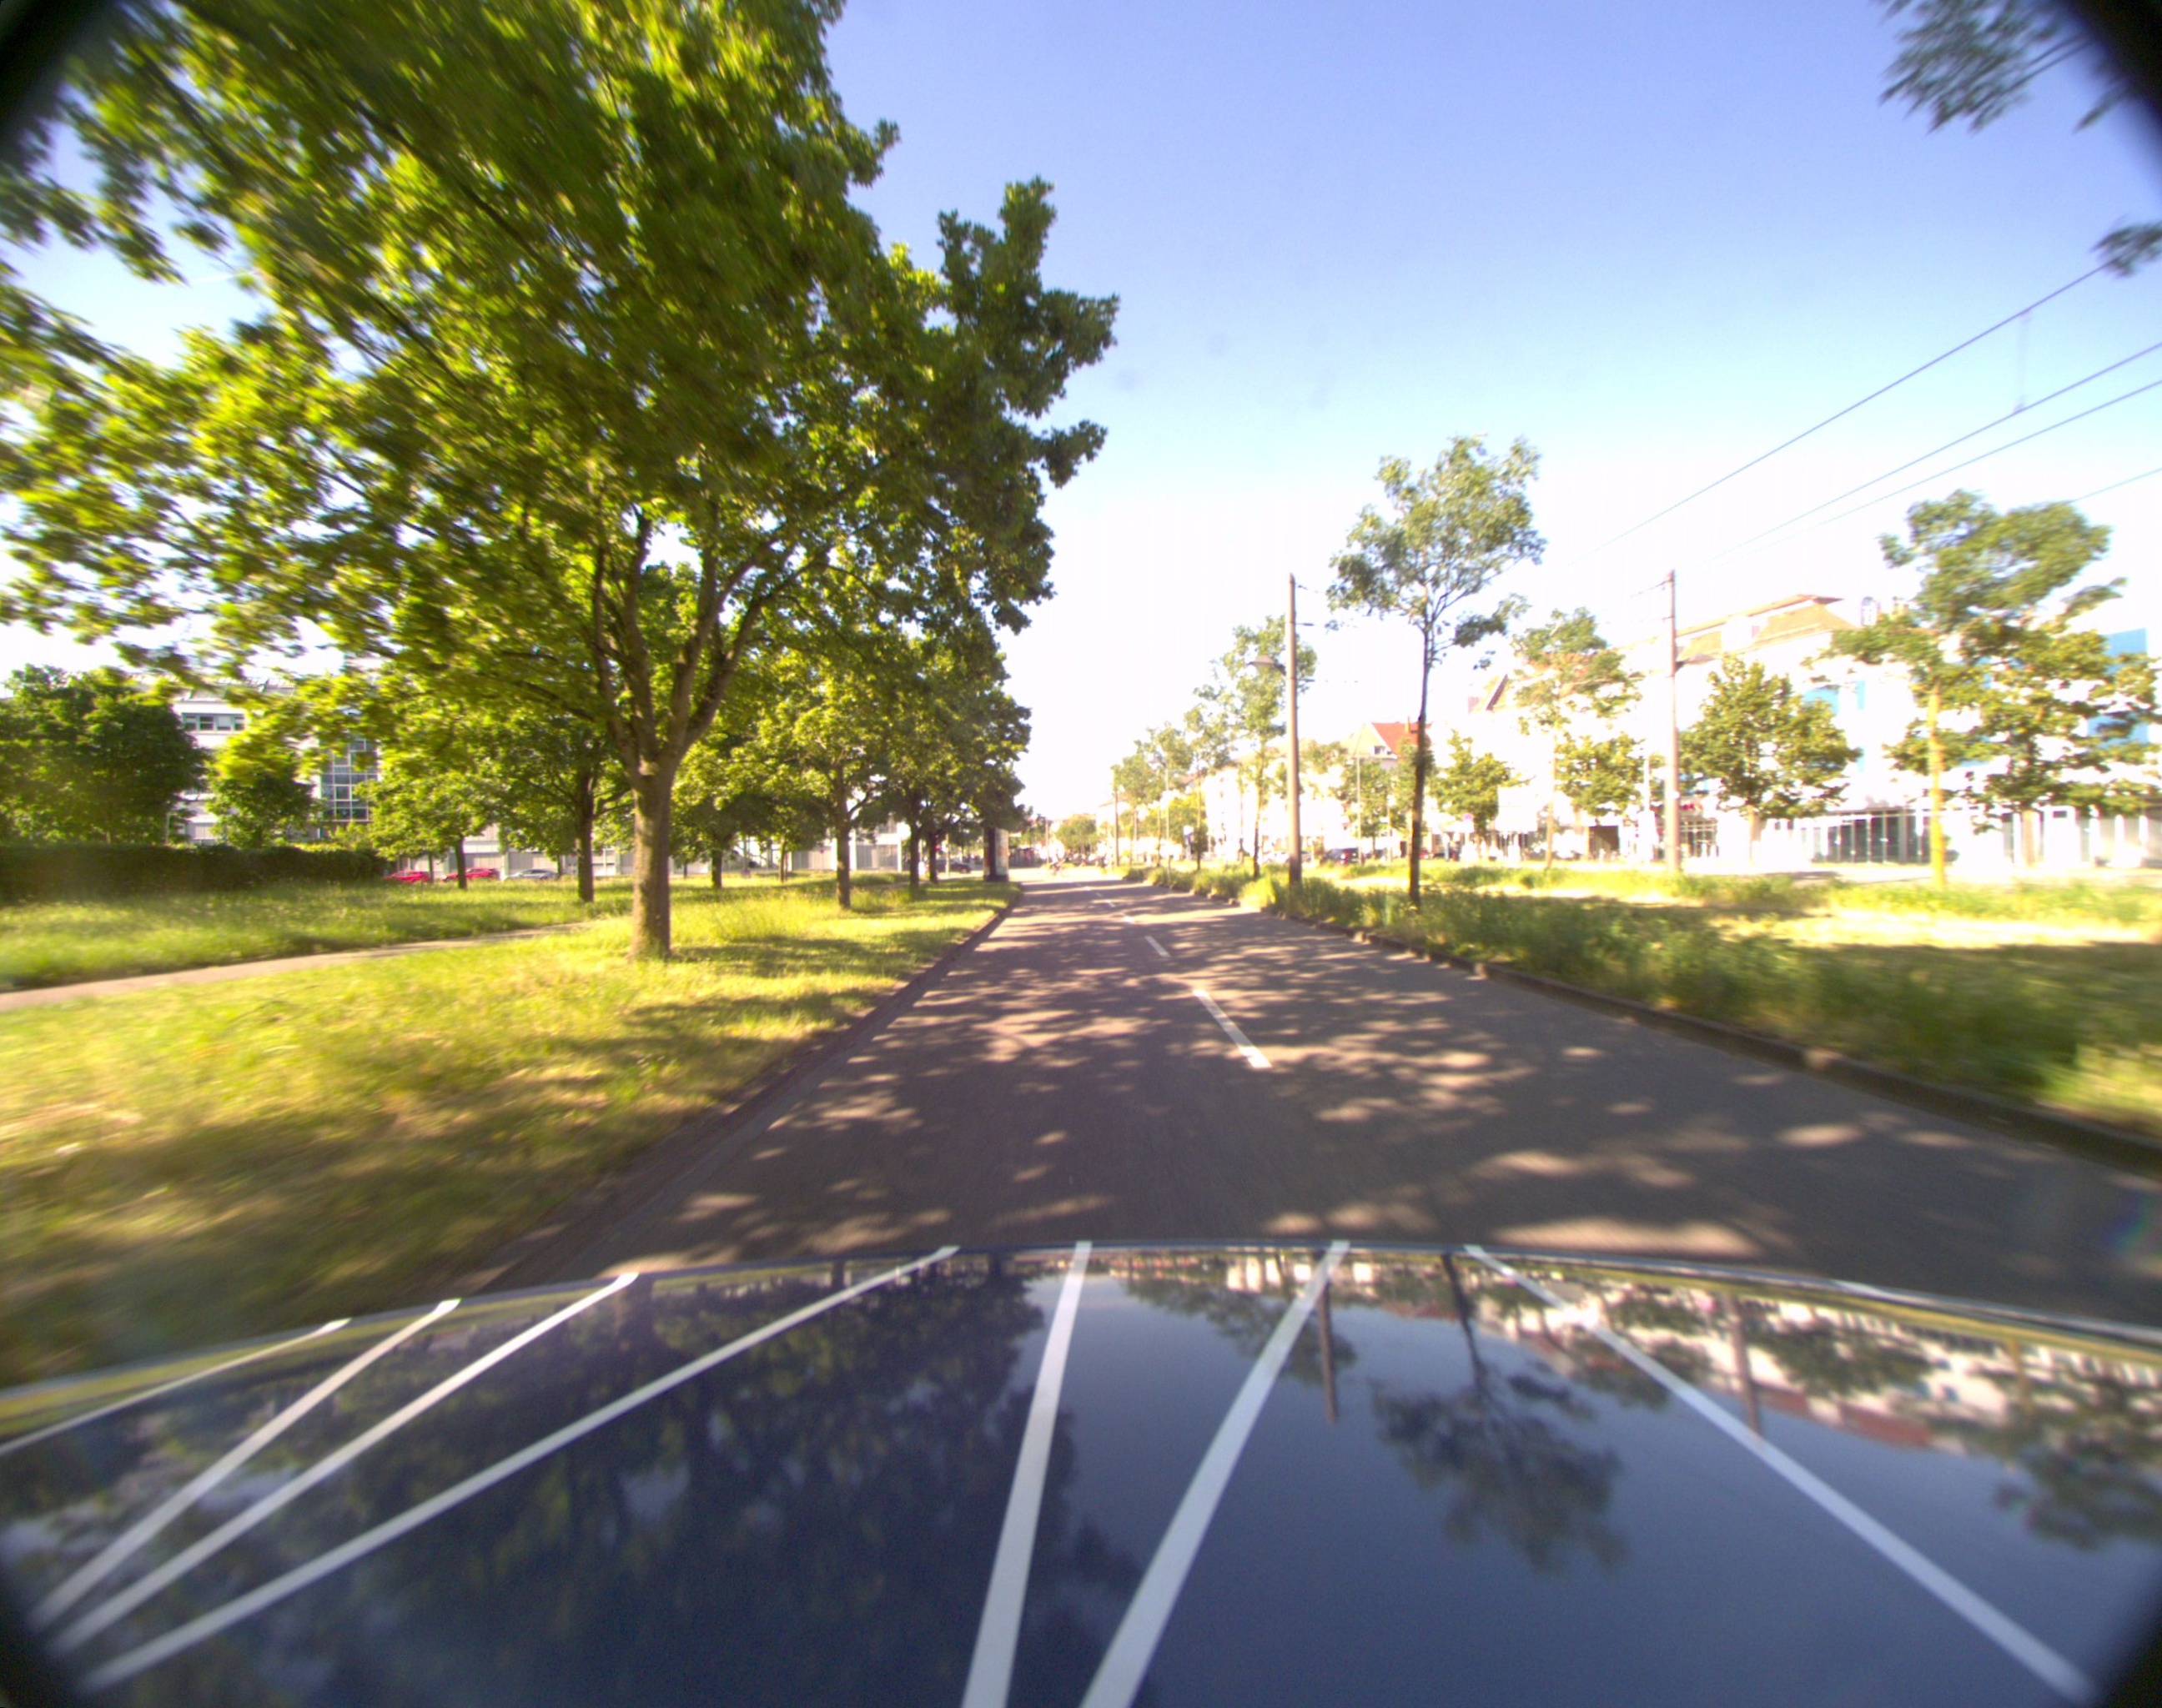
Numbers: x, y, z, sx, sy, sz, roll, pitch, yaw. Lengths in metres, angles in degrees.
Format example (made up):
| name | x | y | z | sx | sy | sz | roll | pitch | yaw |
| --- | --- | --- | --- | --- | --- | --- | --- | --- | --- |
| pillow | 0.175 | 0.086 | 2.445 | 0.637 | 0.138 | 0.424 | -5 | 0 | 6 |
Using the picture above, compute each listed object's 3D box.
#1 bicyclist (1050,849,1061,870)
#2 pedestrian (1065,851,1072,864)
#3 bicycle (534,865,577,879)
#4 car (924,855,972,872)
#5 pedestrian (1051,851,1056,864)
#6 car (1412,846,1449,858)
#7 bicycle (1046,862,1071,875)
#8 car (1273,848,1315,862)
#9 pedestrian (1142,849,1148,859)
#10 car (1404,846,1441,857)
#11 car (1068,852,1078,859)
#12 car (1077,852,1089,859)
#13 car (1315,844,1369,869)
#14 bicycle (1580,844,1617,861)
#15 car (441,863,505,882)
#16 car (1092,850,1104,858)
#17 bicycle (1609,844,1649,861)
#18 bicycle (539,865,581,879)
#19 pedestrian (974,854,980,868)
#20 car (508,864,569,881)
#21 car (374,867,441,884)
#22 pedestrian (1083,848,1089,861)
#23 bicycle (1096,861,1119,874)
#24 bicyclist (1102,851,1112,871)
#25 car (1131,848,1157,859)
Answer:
| name | x | y | z | sx | sy | sz | roll | pitch | yaw |
| --- | --- | --- | --- | --- | --- | --- | --- | --- | --- |
| bicyclist | -1.946 | 0.422 | 58.486 | 0.715 | 1.591 | 0.849 | -1 | 1 | -7 |
| pedestrian | -1.692 | 0.492 | 103.135 | 0.733 | 1.687 | 0.735 | -1 | 1 | -7 |
| bicycle | -54.994 | 1.886 | 79.527 | 3.536 | 1.340 | 0.989 | -1 | 0 | -14 |
| car | -13.488 | 0.924 | 76.909 | 4.633 | 1.613 | 1.998 | -1 | 1 | -12 |
| pedestrian | -3.650 | 0.515 | 100.524 | 0.641 | 1.687 | 0.607 | -1 | 1 | -12 |
| car | 43.255 | -0.238 | 94.058 | 4.091 | 1.302 | 1.701 | -1 | 0 | -15 |
| bicycle | -1.754 | 1.118 | 58.510 | 1.828 | 0.958 | 0.855 | -1 | 0 | -6 |
| car | 25.086 | 0.117 | 89.505 | 4.191 | 1.457 | 2.331 | -1 | 0 | -15 |
| pedestrian | 11.093 | -0.077 | 130.998 | 0.787 | 1.701 | 0.703 | -1 | 1 | -14 |
| car | 43.783 | -0.371 | 97.461 | 4.091 | 1.302 | 1.701 | -1 | 0 | -15 |
| car | -2.022 | 0.351 | 194.546 | 1.694 | 1.700 | 4.236 | -1 | 0 | -14 |
| car | 0.402 | 0.332 | 184.713 | 1.834 | 1.700 | 4.236 | -1 | 0 | -14 |
| car | 18.419 | 0.175 | 53.896 | 1.825 | 1.631 | 4.486 | -1 | 0 | -7 |
| bicycle | 38.656 | -0.104 | 56.768 | 0.719 | 1.205 | 2.550 | -1 | 0 | -8 |
| car | -58.509 | 1.768 | 73.193 | 4.290 | 1.585 | 1.916 | -1 | 0 | -16 |
| car | 3.730 | 0.100 | 169.646 | 1.694 | 1.700 | 4.236 | -1 | 0 | -14 |
| bicycle | 39.711 | -0.106 | 55.096 | 2.552 | 1.206 | 0.719 | -1 | 0 | -8 |
| bicycle | -55.221 | 1.881 | 80.556 | 3.536 | 1.340 | 0.989 | -1 | 0 | -14 |
| pedestrian | -13.395 | 0.884 | 97.805 | 0.733 | 1.687 | 0.735 | -1 | 1 | -7 |
| car | -52.025 | 1.766 | 72.939 | 4.290 | 1.412 | 1.916 | -1 | 0 | -16 |
| car | -63.506 | 2.026 | 71.759 | 4.290 | 1.412 | 1.916 | -1 | 0 | -16 |
| pedestrian | 0.626 | 0.068 | 99.254 | 0.723 | 1.687 | 0.608 | -1 | 1 | -7 |
| bicycle | 2.190 | 1.104 | 62.547 | 1.827 | 0.958 | 0.817 | -1 | 0 | -2 |
| bicyclist | 2.164 | 0.581 | 62.541 | 0.715 | 1.682 | 0.817 | -1 | 1 | -2 |
| car | 10.891 | -0.062 | 131.971 | 4.232 | 1.700 | 1.696 | -1 | 0 | 18 |
